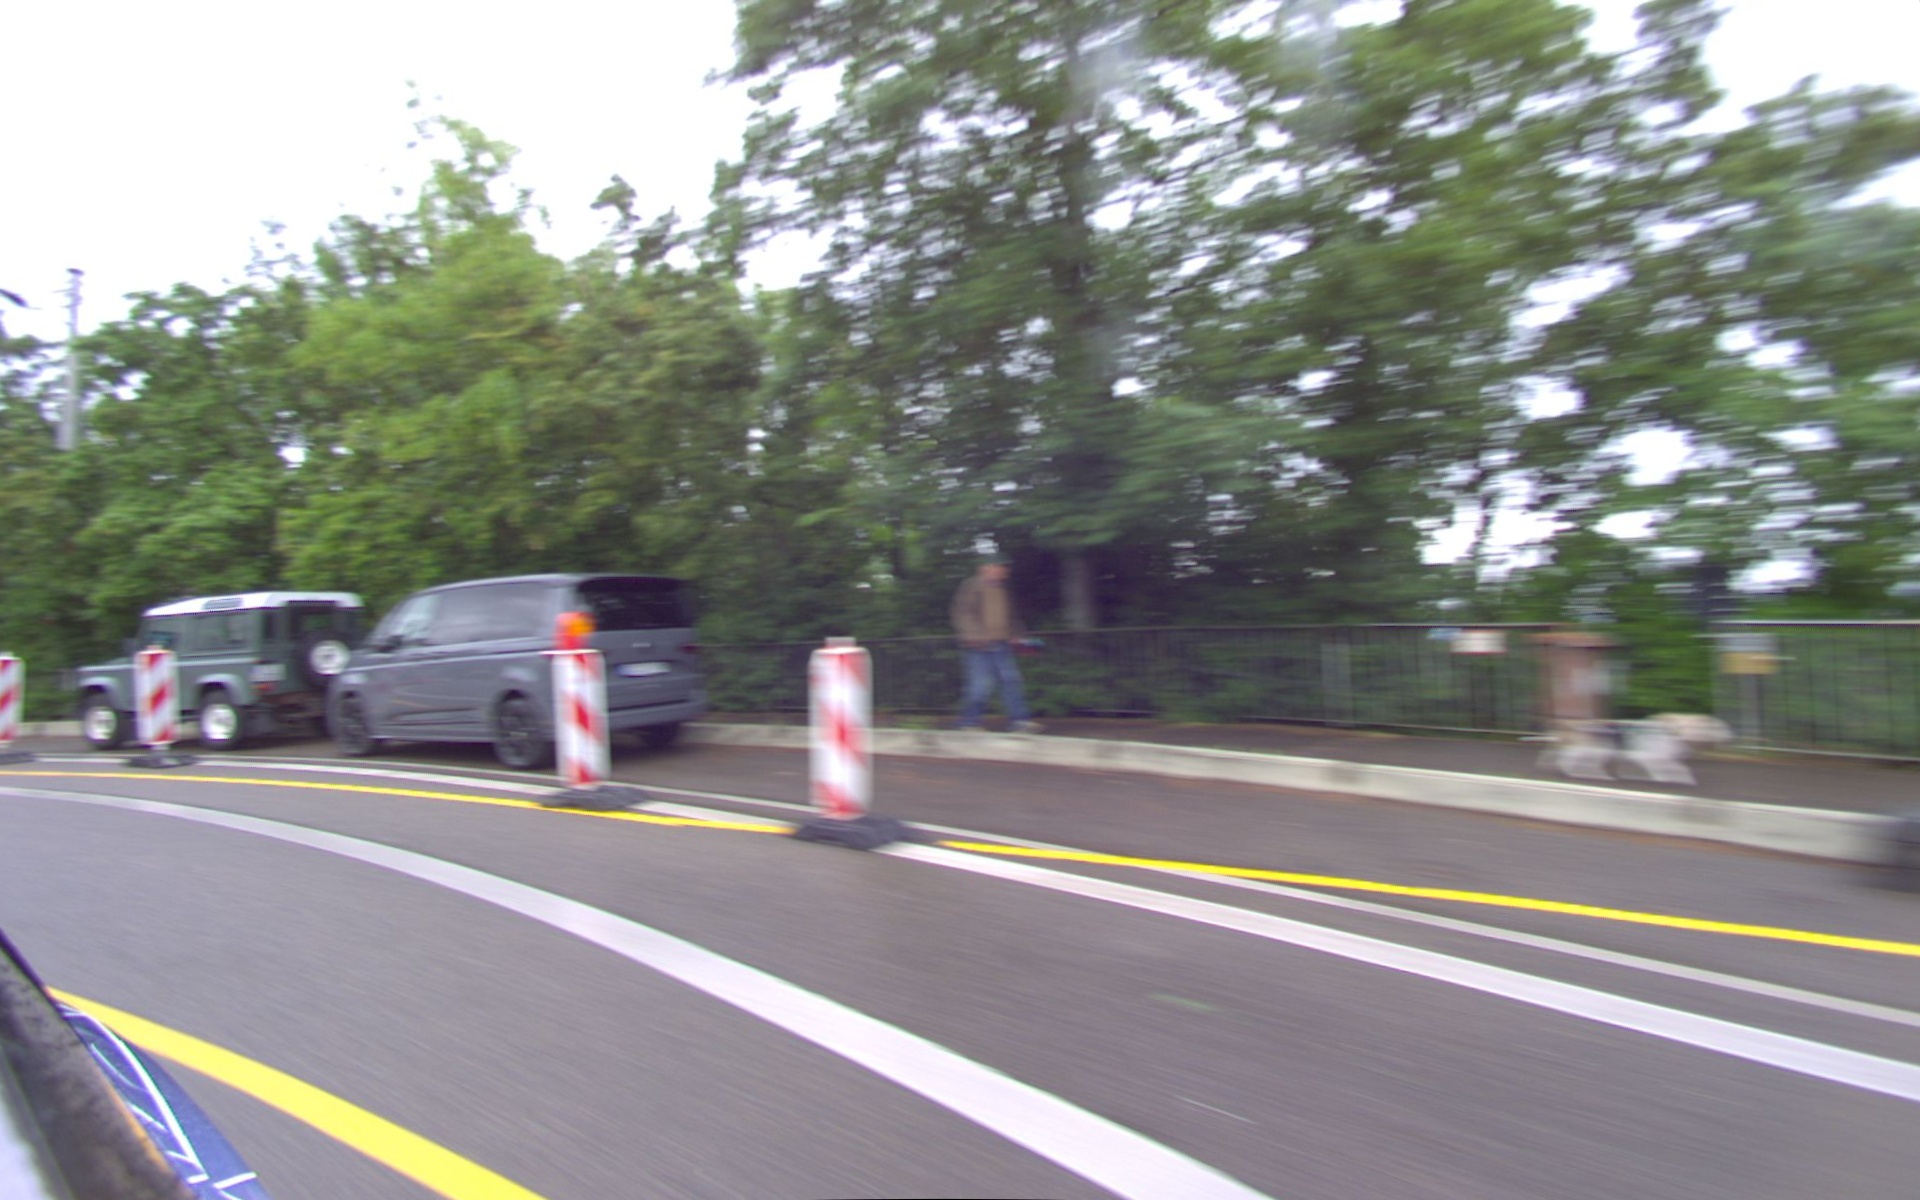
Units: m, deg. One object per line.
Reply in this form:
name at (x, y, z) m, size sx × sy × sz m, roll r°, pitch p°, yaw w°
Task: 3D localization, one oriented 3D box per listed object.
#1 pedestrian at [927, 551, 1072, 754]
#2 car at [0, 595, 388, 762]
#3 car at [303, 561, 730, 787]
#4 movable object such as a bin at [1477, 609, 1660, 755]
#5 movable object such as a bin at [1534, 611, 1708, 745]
pedestrian at (0.373, 0.471, 9.553) m, size 0.980 × 1.781 × 0.913 m, roll -2°, pitch -1°, yaw 41°
car at (-10.530, 1.074, 13.923) m, size 4.771 × 2.029 × 1.861 m, roll -3°, pitch -2°, yaw 17°
car at (-5.056, 0.739, 11.275) m, size 4.934 × 2.029 × 1.978 m, roll -2°, pitch -1°, yaw 33°
movable object such as a bin at (5.087, 0.646, 8.473) m, size 0.973 × 1.115 × 1.029 m, roll 1°, pitch -2°, yaw -40°
movable object such as a bin at (5.947, 0.678, 9.120) m, size 0.973 × 1.115 × 1.029 m, roll 1°, pitch -4°, yaw -40°
